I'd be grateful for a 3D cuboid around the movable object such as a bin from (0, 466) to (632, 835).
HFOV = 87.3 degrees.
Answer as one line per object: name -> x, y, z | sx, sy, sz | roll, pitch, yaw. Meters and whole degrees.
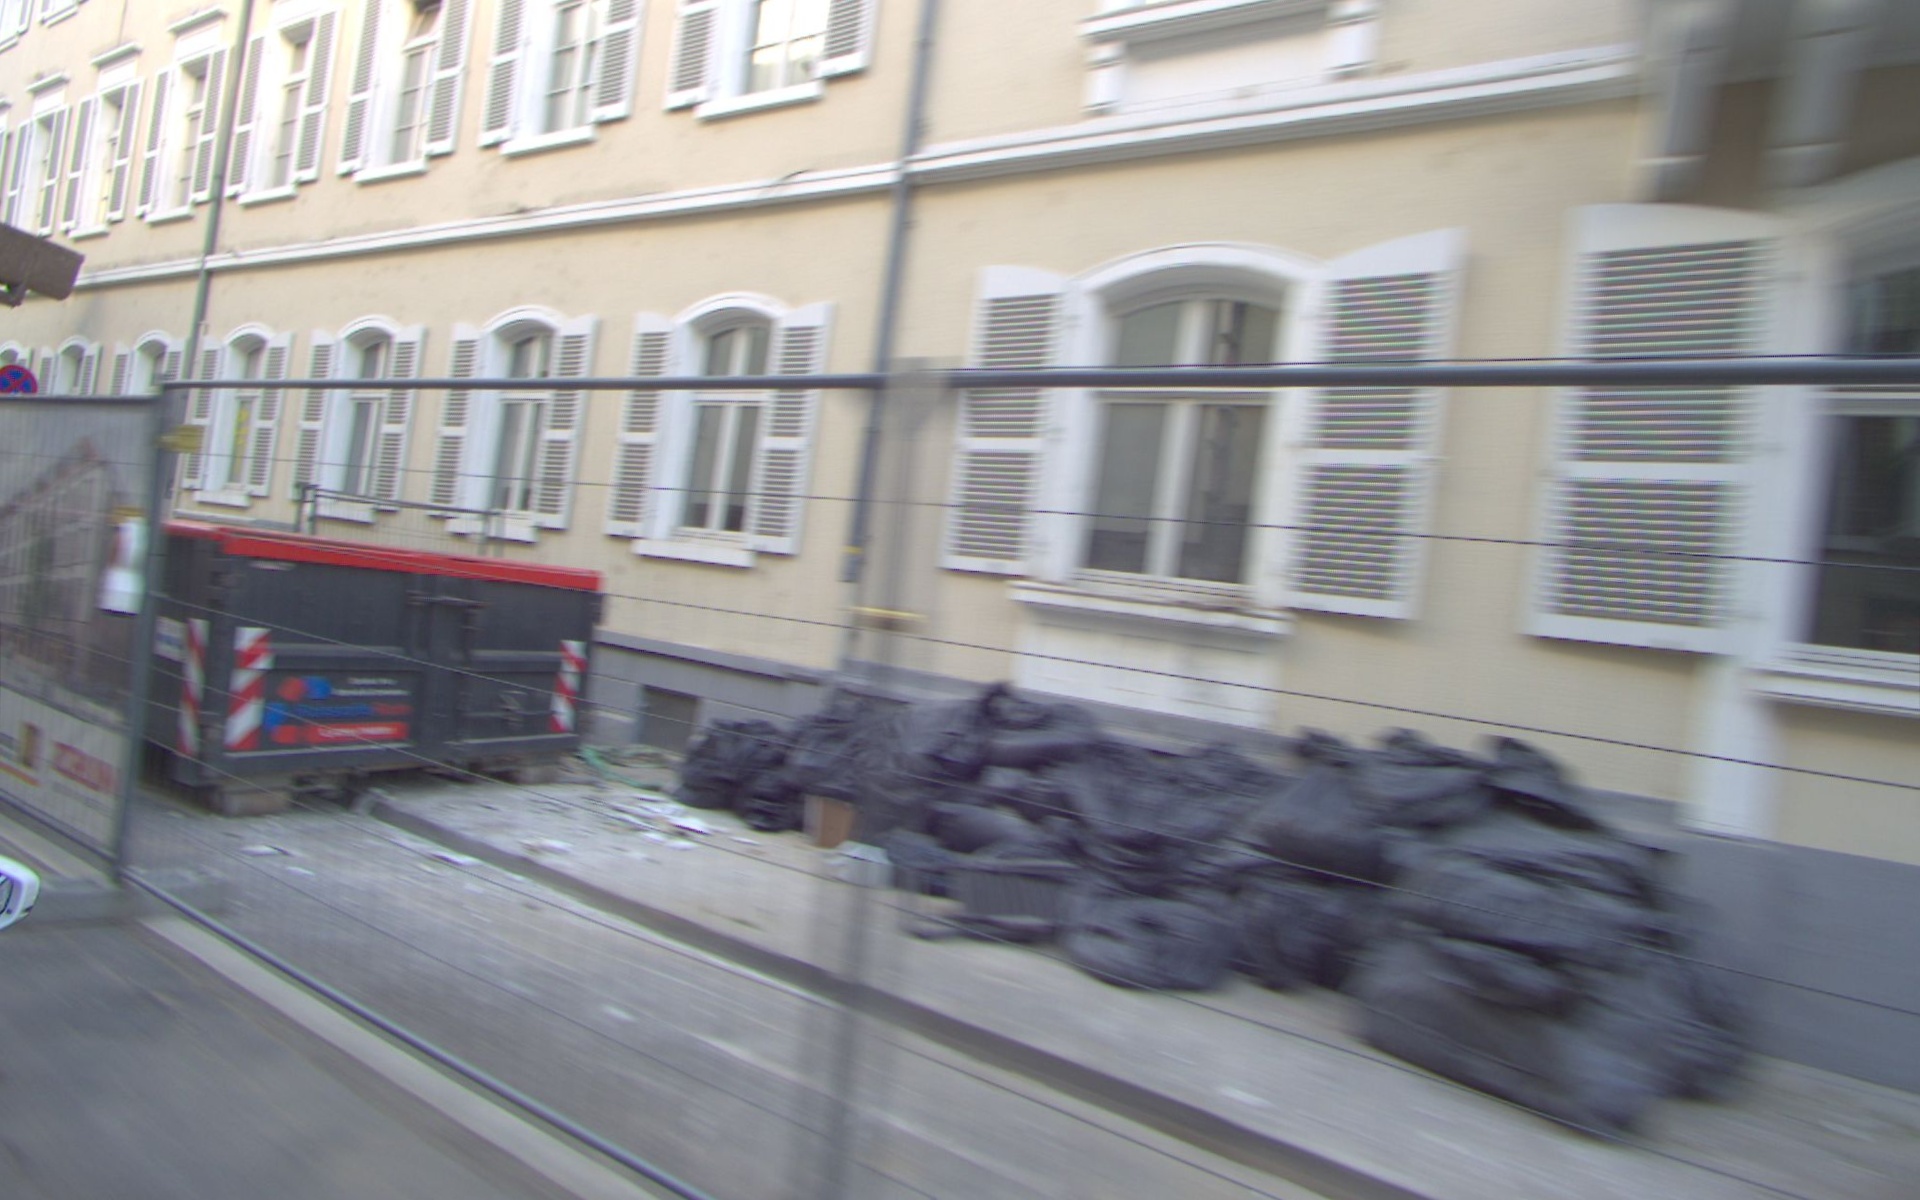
movable object such as a bin -> -6.300, 0.024, 7.839 | 7.168, 1.684, 2.898 | 7, -2, 29
